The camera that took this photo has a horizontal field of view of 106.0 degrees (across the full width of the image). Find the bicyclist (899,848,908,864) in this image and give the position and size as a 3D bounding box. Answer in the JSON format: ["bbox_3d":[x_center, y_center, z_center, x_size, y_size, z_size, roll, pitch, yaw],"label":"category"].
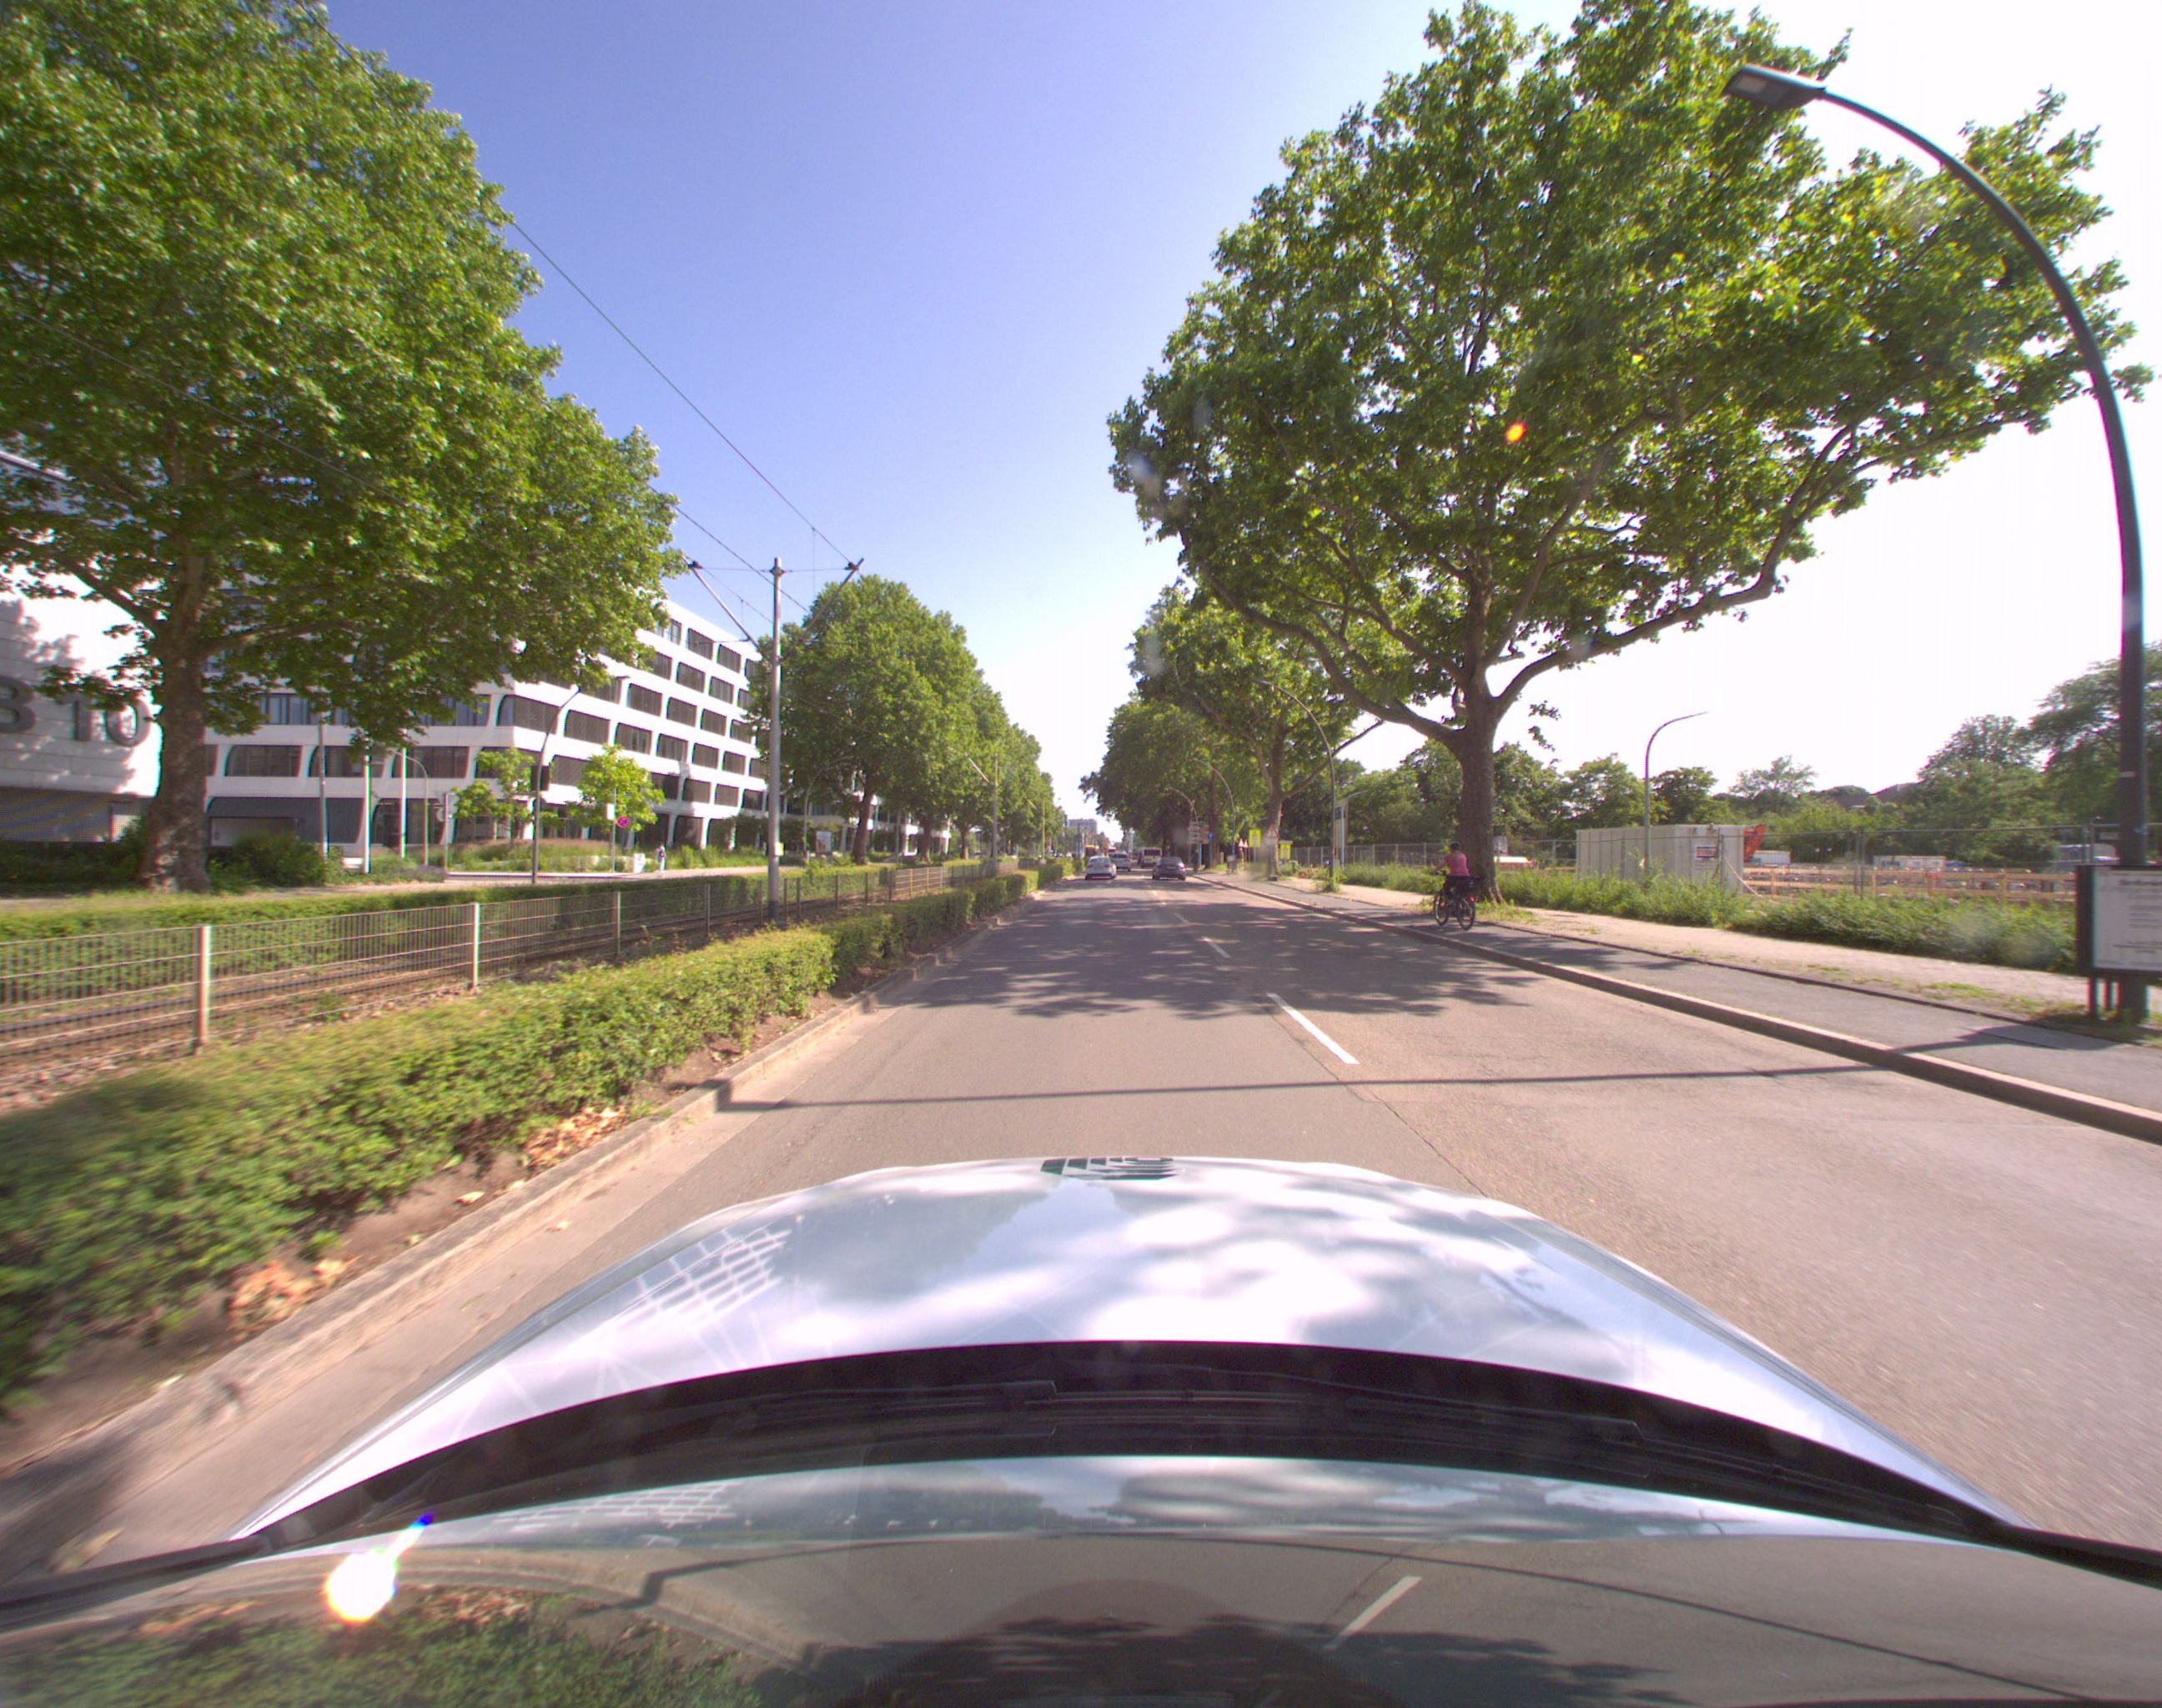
[{"bbox_3d":[-17.764,0.215,81.398,0.651,1.535,0.641,1,0,3],"label":"bicyclist"}]

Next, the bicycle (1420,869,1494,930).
[{"bbox_3d":[7.604,0.892,16.565,0.649,1.129,1.946,-1,0,2],"label":"bicycle"}]

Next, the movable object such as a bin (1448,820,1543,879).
[{"bbox_3d":[23.461,-0.260,46.455,2.362,3.071,5.985,1,0,0],"label":"movable object such as a bin"}]

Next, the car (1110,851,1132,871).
[{"bbox_3d":[3.429,0.595,69.488,1.722,1.605,3.888,1,0,3],"label":"car"}]

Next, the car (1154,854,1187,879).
[{"bbox_3d":[5.378,0.744,49.363,1.775,1.420,4.004,1,0,3],"label":"car"}]

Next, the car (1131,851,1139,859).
[{"bbox_3d":[12.976,0.192,195.769,2.063,1.999,4.062,1,0,3],"label":"car"}]

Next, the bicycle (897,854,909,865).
[{"bbox_3d":[-17.763,0.550,81.358,0.661,1.124,2.032,1,0,3],"label":"bicycle"}]

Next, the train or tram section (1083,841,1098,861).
[{"bbox_3d":[2.048,-0.593,168.998,2.605,4.015,7.756,1,0,4],"label":"train or tram section"}]

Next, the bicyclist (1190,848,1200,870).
[{"bbox_3d":[9.018,0.382,64.253,0.632,1.648,0.980,-2,1,2],"label":"bicyclist"}]

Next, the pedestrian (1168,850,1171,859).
[{"bbox_3d":[20.181,0.086,185.095,0.611,1.896,0.694,0,0,0],"label":"pedestrian"}]

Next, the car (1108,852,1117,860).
[{"bbox_3d":[6.546,0.433,170.229,1.722,1.631,4.004,1,0,3],"label":"car"}]

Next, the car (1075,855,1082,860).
[{"bbox_3d":[-0.688,1.052,246.451,1.985,1.734,4.004,1,0,4],"label":"car"}]

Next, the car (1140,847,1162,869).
[{"bbox_3d":[7.375,0.399,86.558,2.220,2.212,4.165,1,0,3],"label":"car"}]

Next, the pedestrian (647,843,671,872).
[{"bbox_3d":[-22.978,0.191,44.340,0.717,1.588,1.015,1,0,3],"label":"pedestrian"}]

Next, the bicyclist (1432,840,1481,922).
[{"bbox_3d":[7.585,0.530,16.474,0.617,1.600,0.732,-1,0,1],"label":"bicyclist"}]

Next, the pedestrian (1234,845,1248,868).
[{"bbox_3d":[13.308,0.188,67.757,0.935,1.892,1.152,1,0,3],"label":"pedestrian"}]

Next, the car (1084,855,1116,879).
[{"bbox_3d":[1.220,0.760,50.403,1.777,1.420,3.888,1,0,3],"label":"car"}]

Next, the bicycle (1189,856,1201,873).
[{"bbox_3d":[9.014,0.815,64.276,0.711,1.148,2.180,-2,2,2],"label":"bicycle"}]
